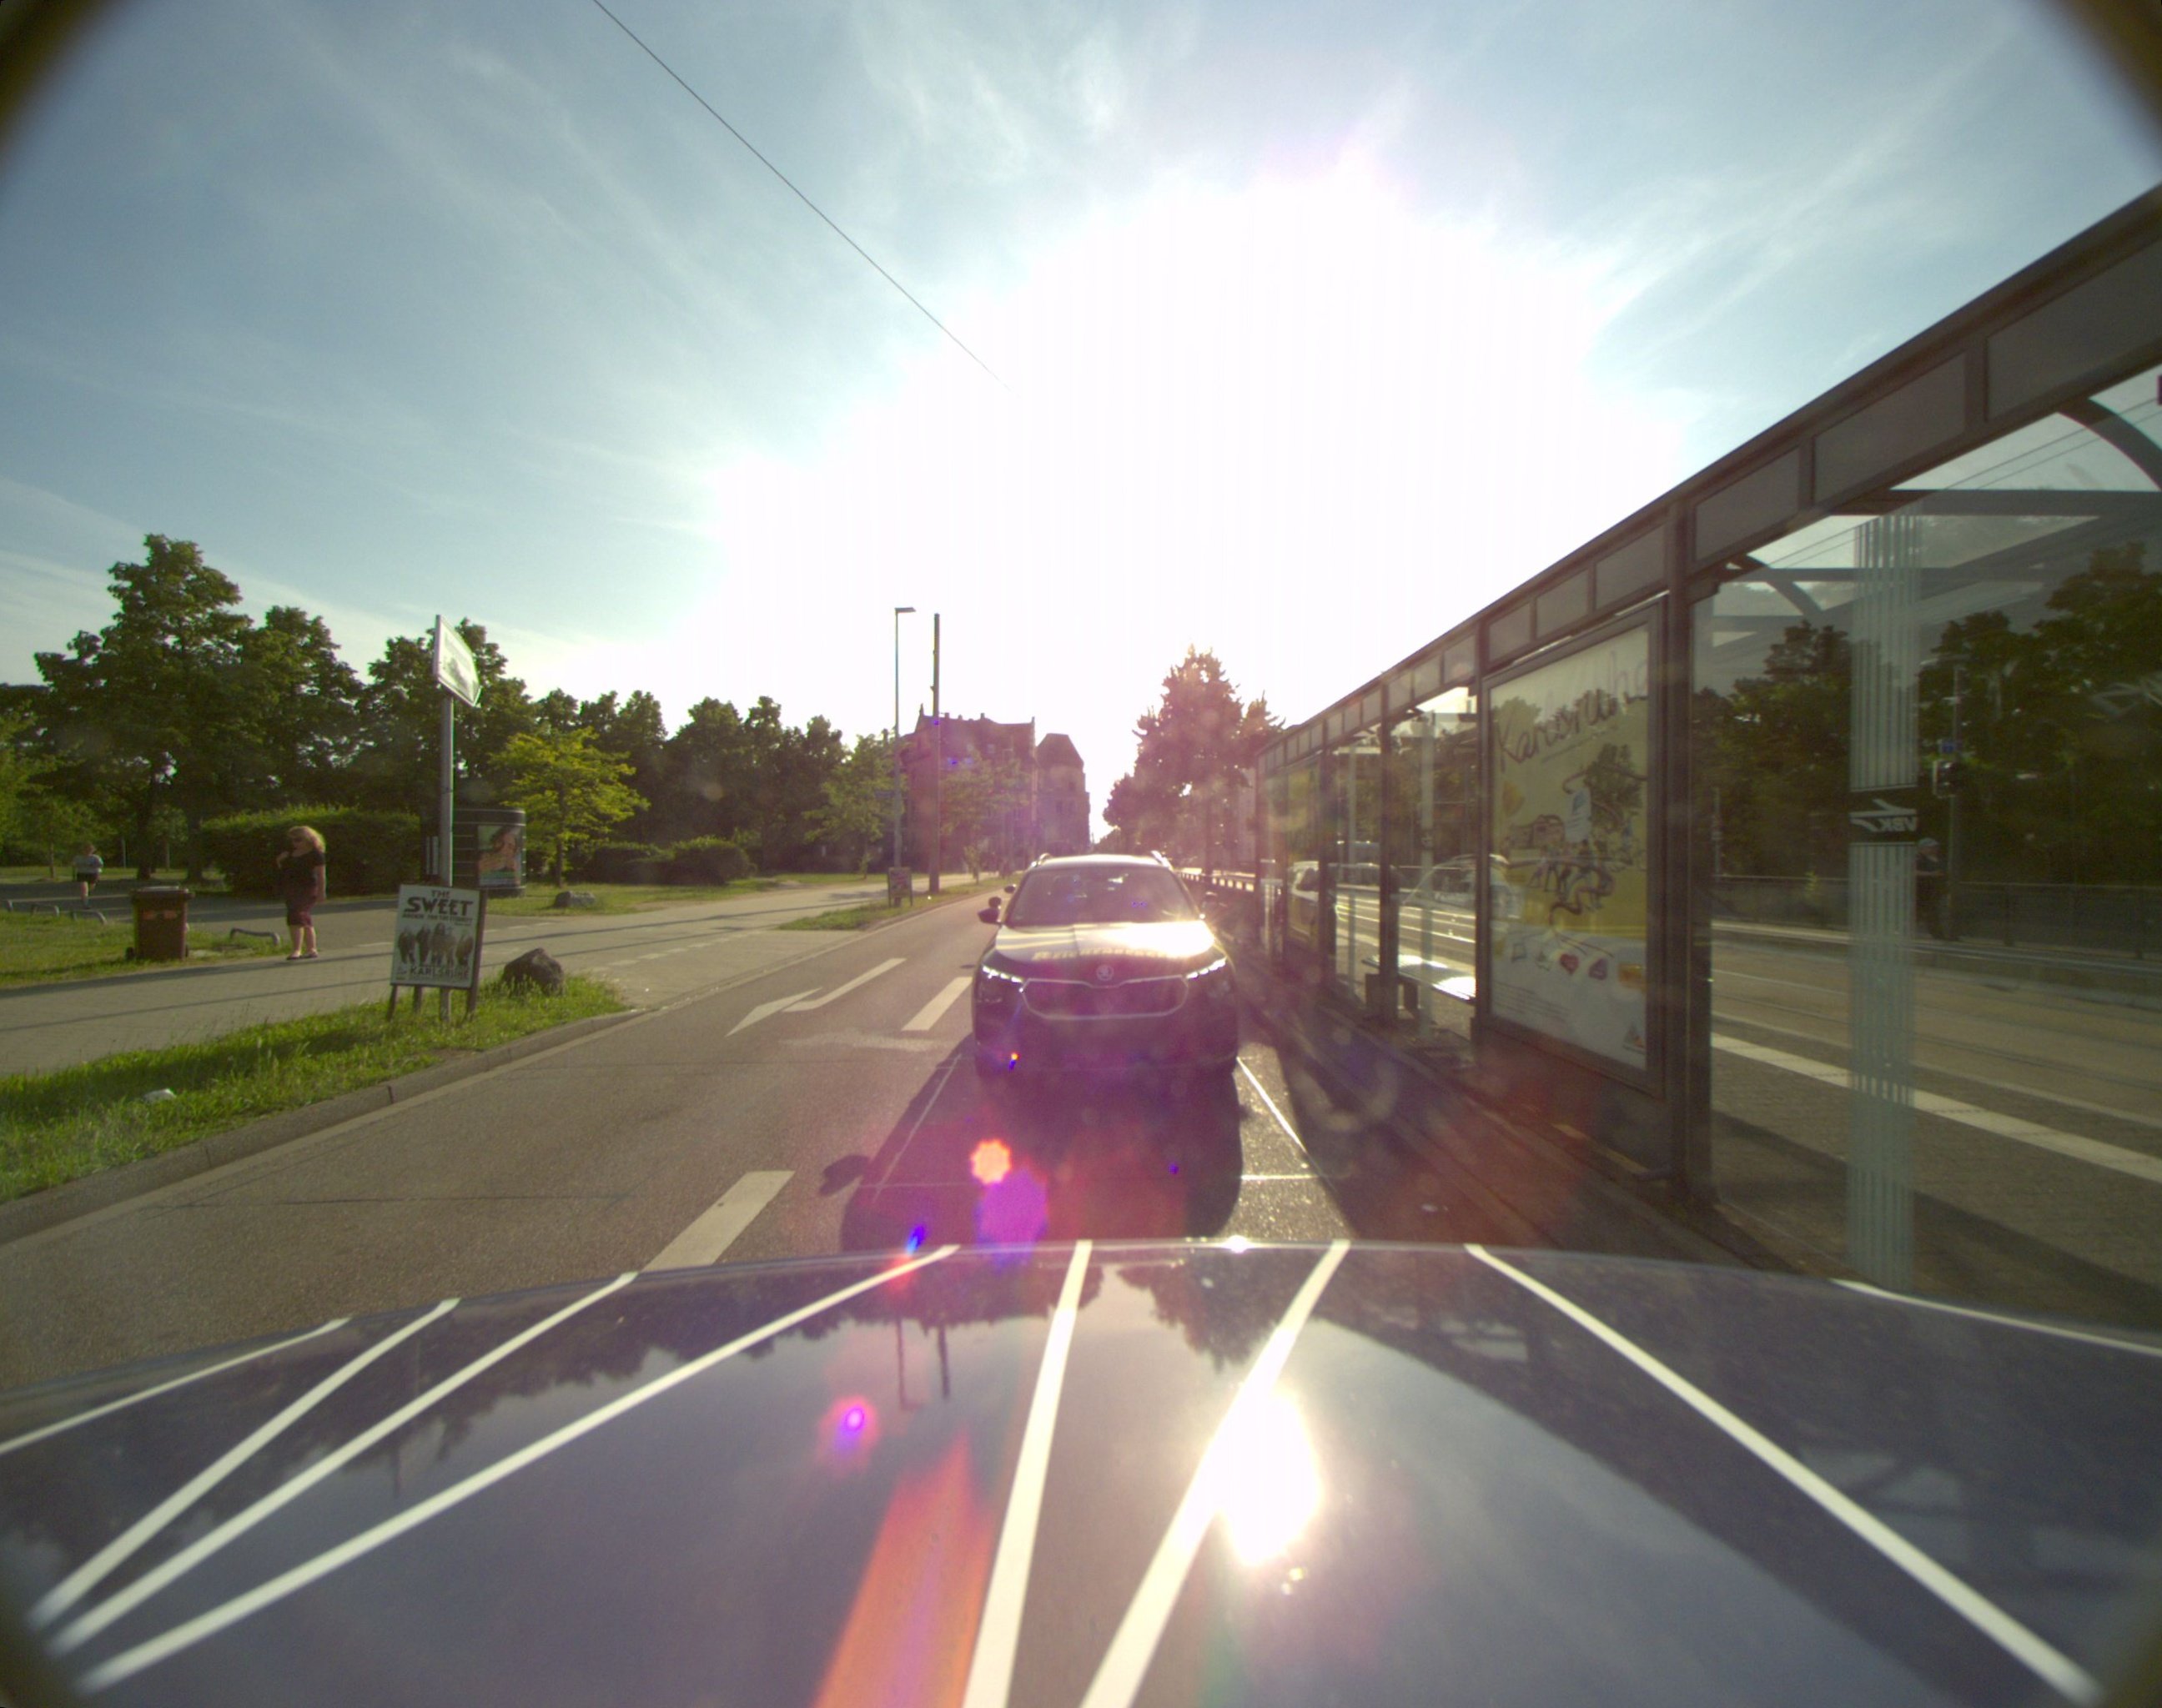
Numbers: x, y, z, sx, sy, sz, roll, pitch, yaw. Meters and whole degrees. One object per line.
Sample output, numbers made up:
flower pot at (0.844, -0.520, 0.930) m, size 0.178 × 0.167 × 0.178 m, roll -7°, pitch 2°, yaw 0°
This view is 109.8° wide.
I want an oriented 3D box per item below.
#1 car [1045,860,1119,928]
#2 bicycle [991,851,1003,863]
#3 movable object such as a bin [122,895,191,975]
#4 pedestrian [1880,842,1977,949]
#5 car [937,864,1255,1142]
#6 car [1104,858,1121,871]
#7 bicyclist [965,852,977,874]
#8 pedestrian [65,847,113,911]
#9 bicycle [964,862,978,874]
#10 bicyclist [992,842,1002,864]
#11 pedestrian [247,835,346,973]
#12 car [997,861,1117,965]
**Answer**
car at (0.051, 0.920, 19.103) m, size 1.672 × 1.496 × 3.872 m, roll 0°, pitch 0°, yaw 1°
bicycle at (-6.853, 0.249, 62.104) m, size 0.740 × 0.912 × 2.094 m, roll 0°, pitch 0°, yaw 0°
movable object such as a bin at (-11.359, 0.979, 9.344) m, size 0.502 × 0.898 × 0.526 m, roll 1°, pitch 1°, yaw 39°
pedestrian at (13.269, 0.631, 11.914) m, size 0.736 × 1.618 × 0.689 m, roll 0°, pitch 1°, yaw 1°
car at (0.108, 0.863, 6.261) m, size 1.781 × 1.496 × 4.000 m, roll 0°, pitch 0°, yaw 1°
car at (4.145, 1.324, 101.229) m, size 1.999 × 1.674 × 3.999 m, roll 0°, pitch 0°, yaw -1°
bicyclist at (-8.923, 0.719, 61.673) m, size 0.753 × 1.763 × 1.119 m, roll 0°, pitch 1°, yaw 3°
pedestrian at (-25.876, 0.631, 19.817) m, size 0.660 × 1.641 × 0.623 m, roll 1°, pitch 1°, yaw 26°
bicycle at (-8.941, 1.151, 61.706) m, size 0.740 × 0.912 × 2.095 m, roll 0°, pitch 0°, yaw 3°
bicyclist at (-6.855, -0.104, 62.274) m, size 0.730 × 1.763 × 1.015 m, roll 0°, pitch 1°, yaw 0°
pedestrian at (-9.984, 0.615, 9.688) m, size 0.558 × 1.691 × 0.662 m, roll 0°, pitch 1°, yaw 0°
car at (-0.328, 0.899, 13.259) m, size 1.781 × 1.496 × 4.000 m, roll 0°, pitch 0°, yaw 1°
